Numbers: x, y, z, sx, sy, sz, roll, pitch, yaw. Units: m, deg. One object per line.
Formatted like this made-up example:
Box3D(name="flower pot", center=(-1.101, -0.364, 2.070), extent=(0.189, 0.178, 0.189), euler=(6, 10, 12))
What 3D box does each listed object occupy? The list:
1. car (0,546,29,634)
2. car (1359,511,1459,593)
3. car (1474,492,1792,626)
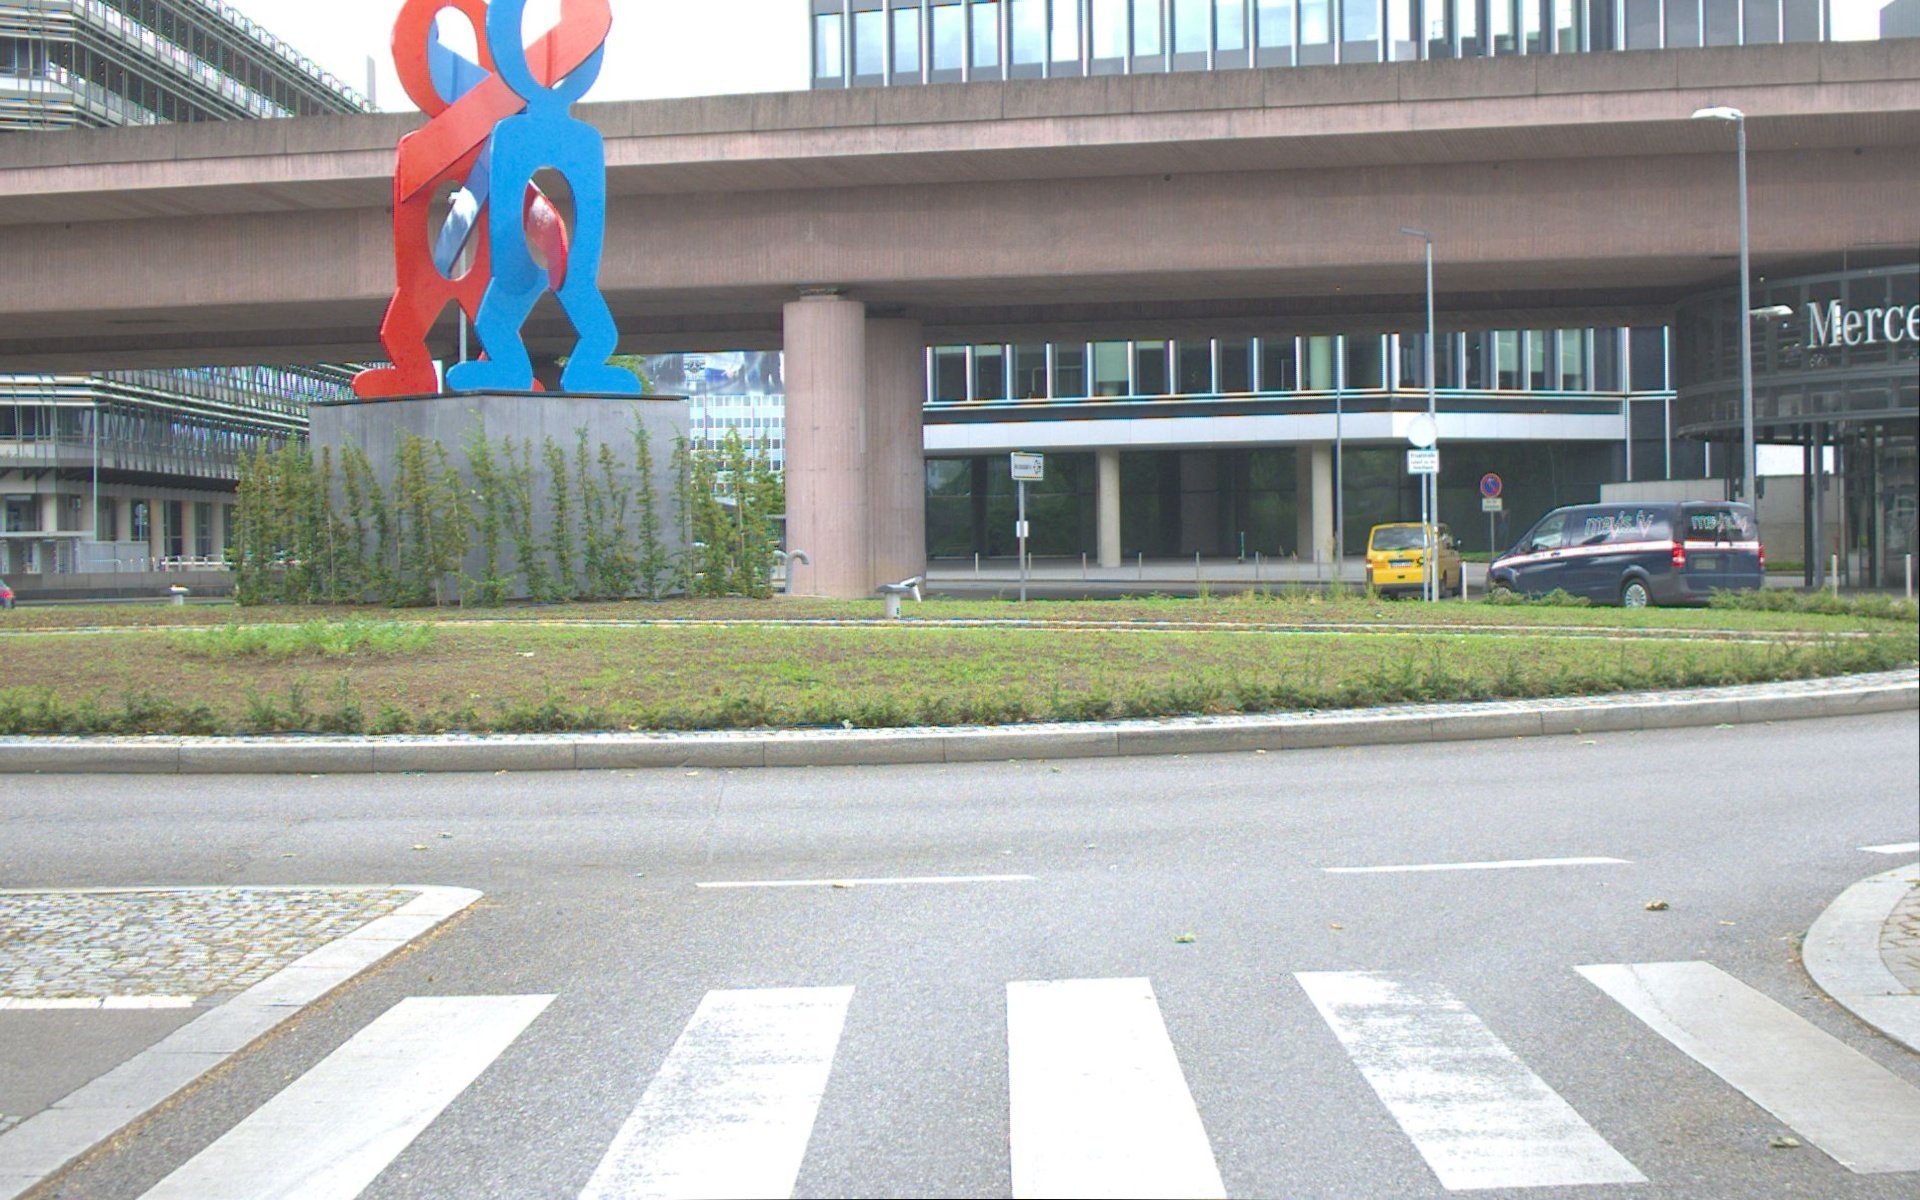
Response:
Box3D(name="car", center=(-18.156, -0.173, 56.928), extent=(4.918, 1.455, 2.000), euler=(0, 1, -31))
Box3D(name="car", center=(11.242, -1.196, 85.877), extent=(1.995, 2.007, 3.997), euler=(0, 1, 15))
Box3D(name="car", center=(10.560, -0.646, 54.292), extent=(2.276, 2.007, 4.784), euler=(0, 1, -31))
